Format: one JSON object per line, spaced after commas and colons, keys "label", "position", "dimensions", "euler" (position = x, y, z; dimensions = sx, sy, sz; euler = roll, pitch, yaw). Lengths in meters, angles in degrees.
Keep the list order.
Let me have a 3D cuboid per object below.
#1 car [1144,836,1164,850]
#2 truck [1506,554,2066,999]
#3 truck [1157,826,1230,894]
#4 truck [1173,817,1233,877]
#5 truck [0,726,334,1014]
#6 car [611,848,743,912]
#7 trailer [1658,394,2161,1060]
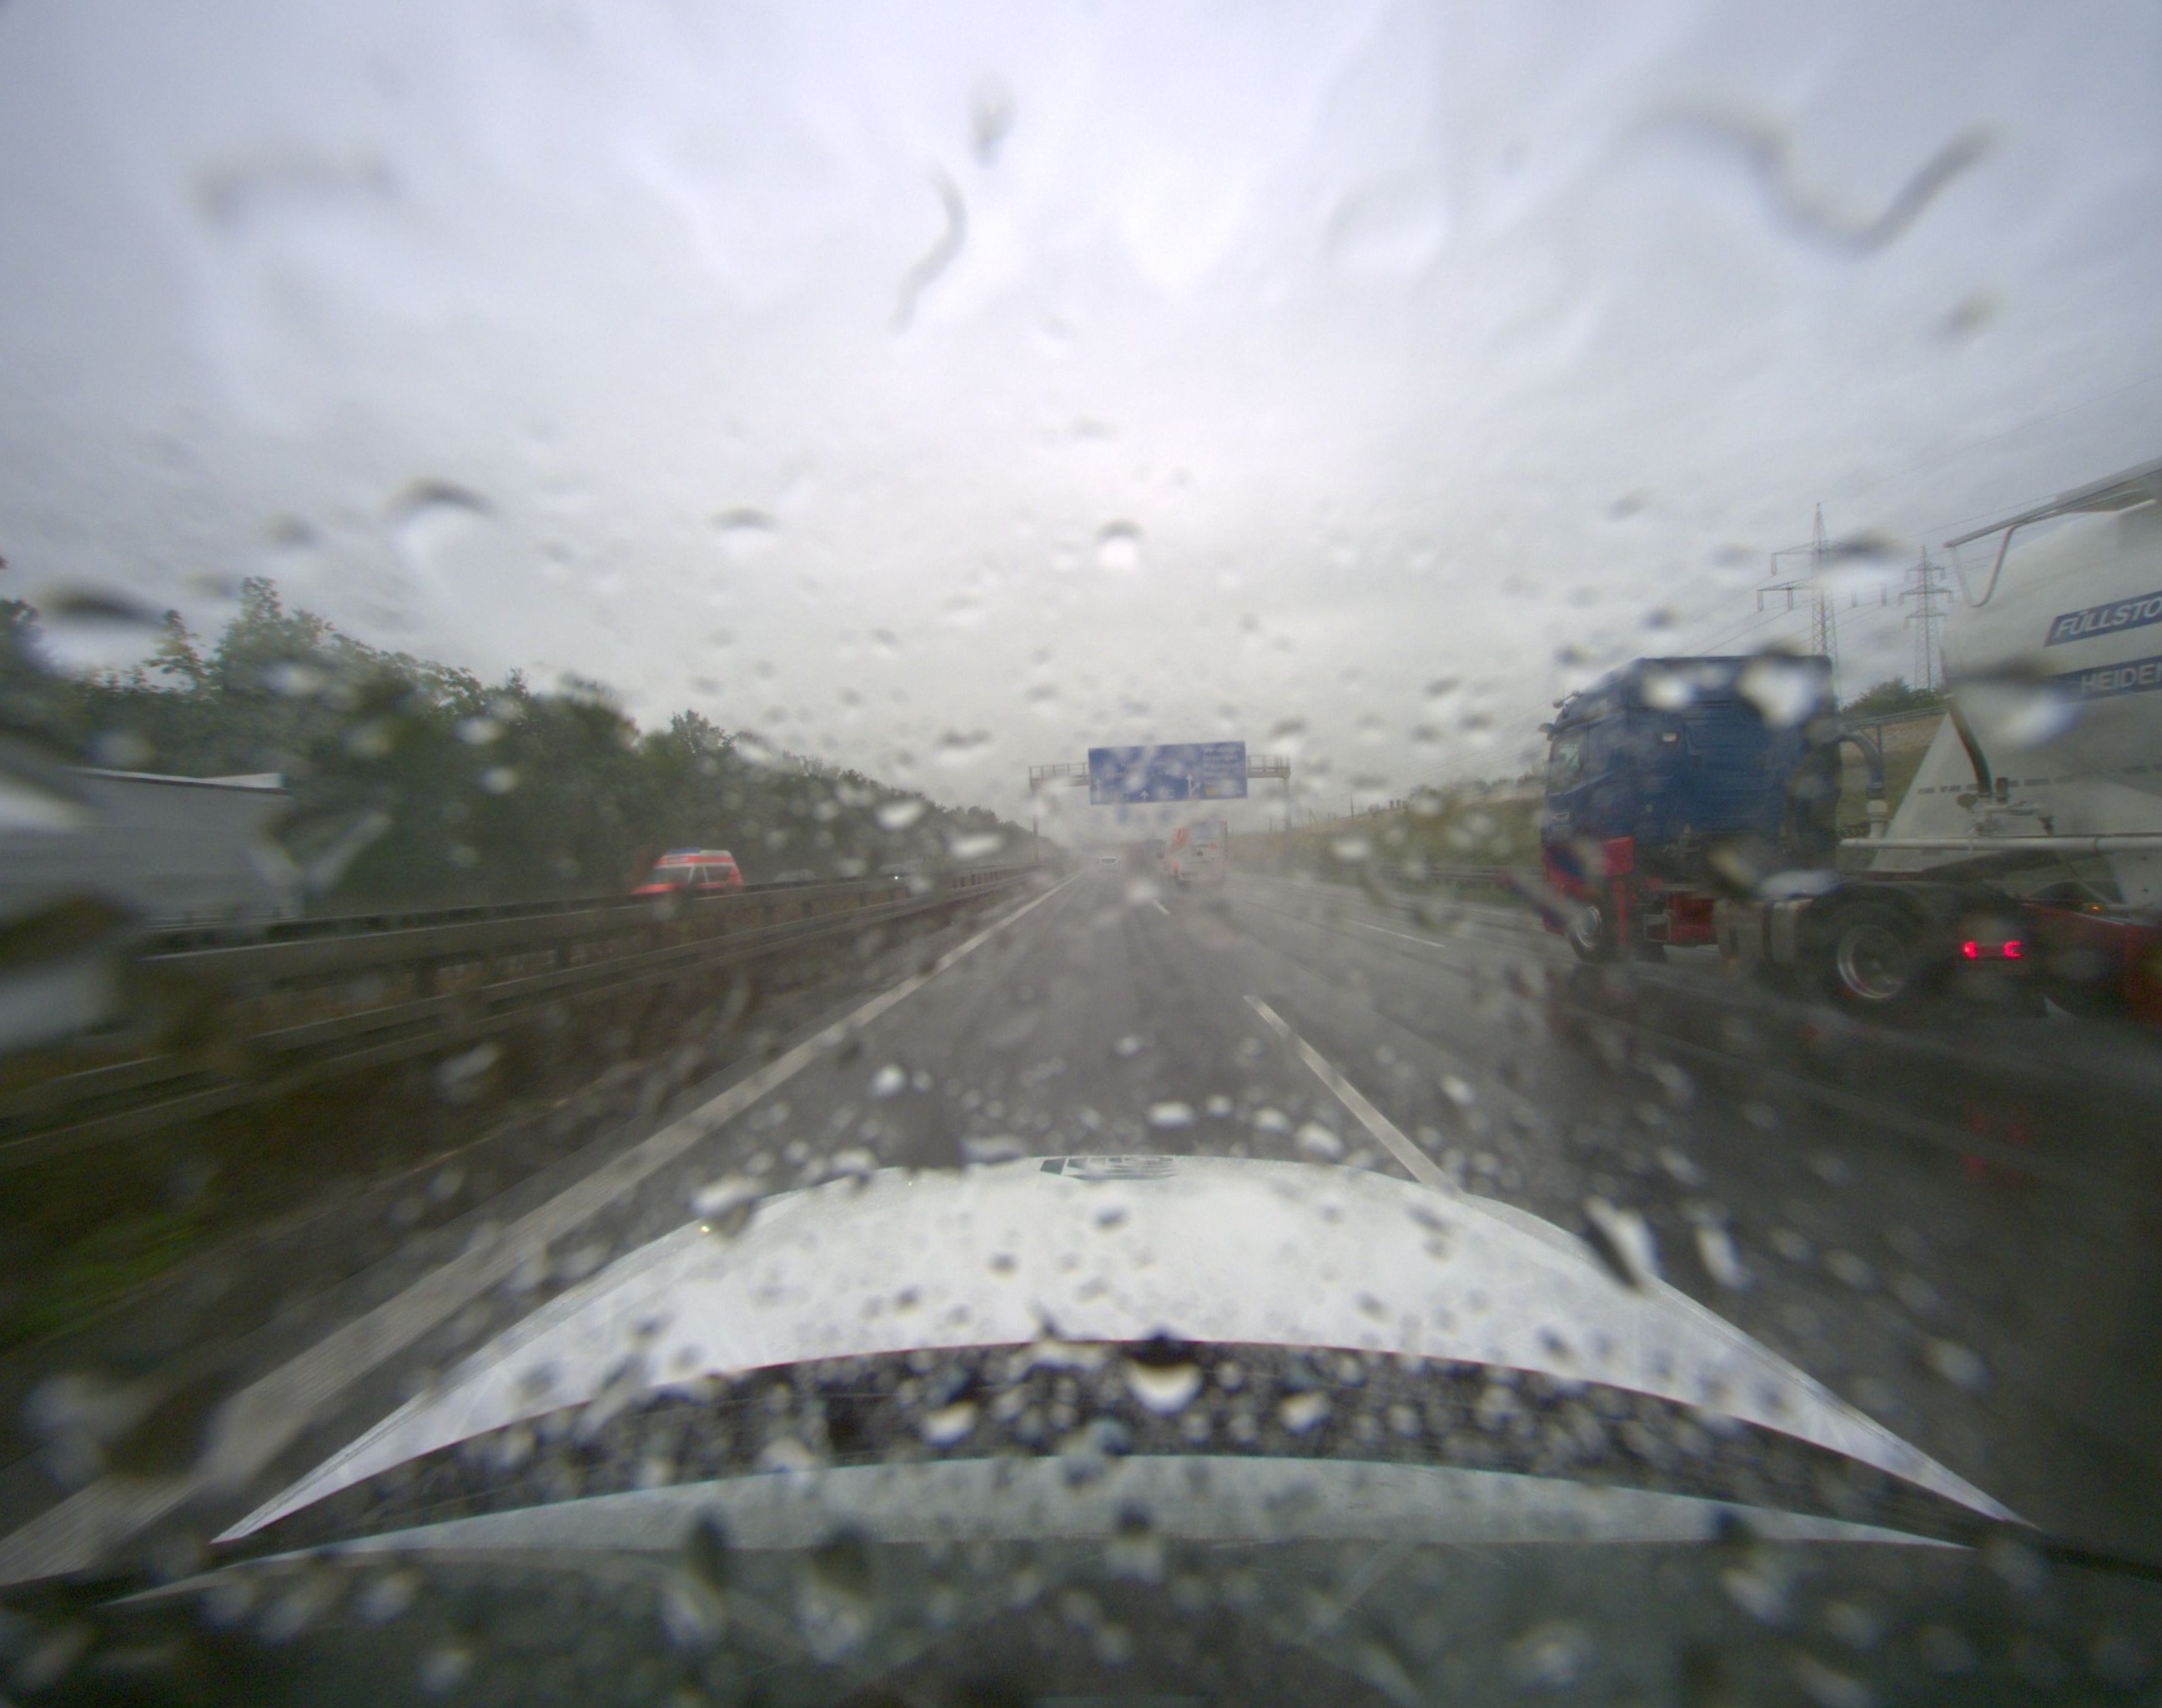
{"label": "car", "position": [11.554, -1.739, 129.469], "dimensions": [2.778, 2.013, 4.995], "euler": [-1, 1, 2]}
{"label": "truck", "position": [7.700, -0.729, 9.895], "dimensions": [2.488, 3.983, 5.077], "euler": [-1, 1, 1]}
{"label": "truck", "position": [4.429, 0.171, 32.944], "dimensions": [2.410, 2.492, 5.564], "euler": [-1, 1, 3]}
{"label": "truck", "position": [10.329, -0.529, 70.854], "dimensions": [3.029, 4.588, 16.354], "euler": [-1, 0, 1]}
{"label": "truck", "position": [-19.102, 0.311, 10.448], "dimensions": [2.955, 4.674, 17.103], "euler": [-1, 1, 1]}
{"label": "car", "position": [-13.863, 0.810, 28.344], "dimensions": [1.986, 1.985, 5.016], "euler": [-1, 1, 1]}
{"label": "trailer", "position": [7.518, -0.734, 3.491], "dimensions": [2.488, 3.882, 11.070], "euler": [-1, 1, 1]}
